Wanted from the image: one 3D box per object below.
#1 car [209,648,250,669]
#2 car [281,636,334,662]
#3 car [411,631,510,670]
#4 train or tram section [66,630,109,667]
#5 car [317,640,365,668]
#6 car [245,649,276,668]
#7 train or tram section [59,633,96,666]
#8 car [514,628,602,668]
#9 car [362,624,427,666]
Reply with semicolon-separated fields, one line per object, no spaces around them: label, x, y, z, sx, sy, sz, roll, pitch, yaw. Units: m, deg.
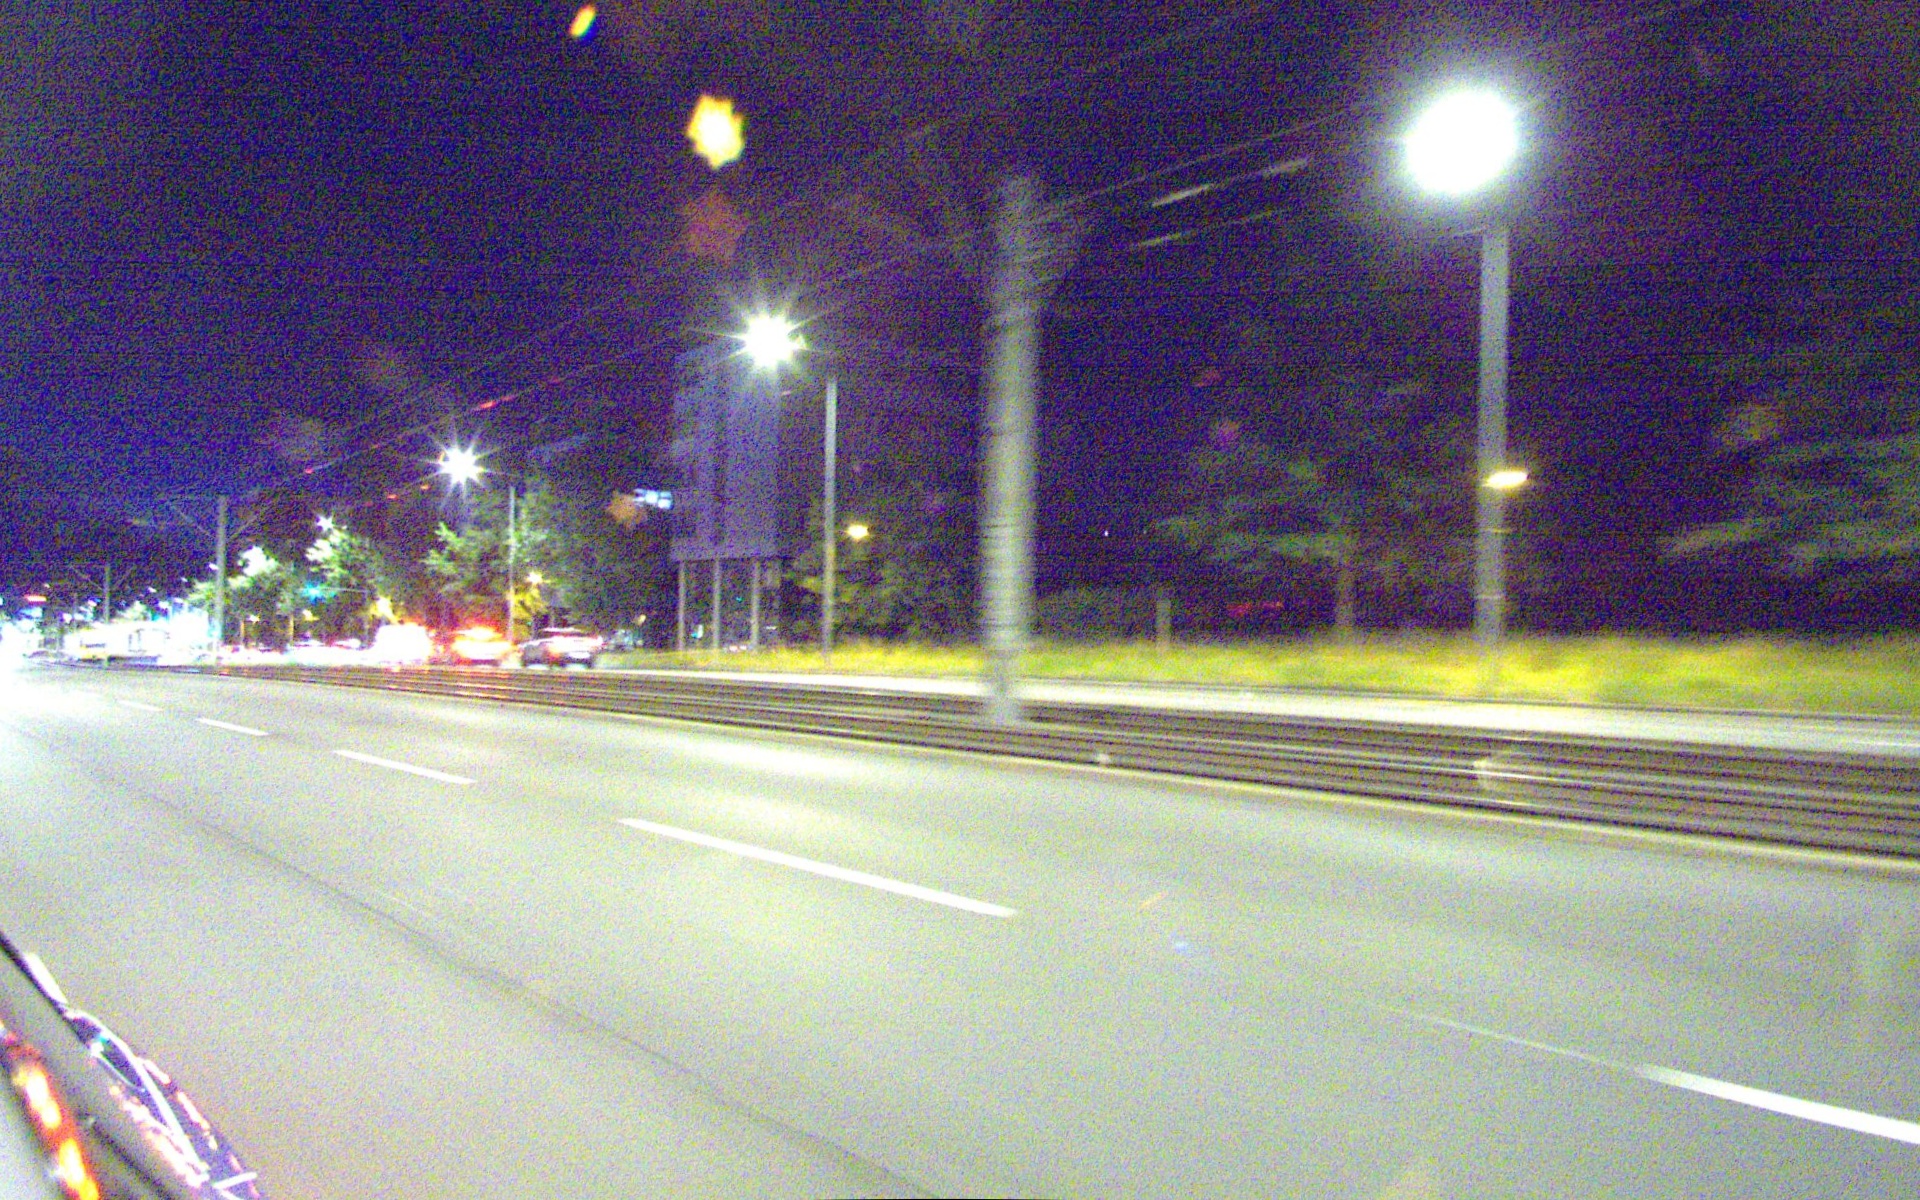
car;-57.424;4.568;79.573;4.173;1.508;1.766;-1;-1;42
car;-38.459;2.902;59.624;4.338;1.451;1.602;-3;-4;44
car;-19.832;1.975;40.088;4.955;1.439;1.846;-2;-2;42
train or tram section;-98.984;5.534;114.673;2.726;3.856;18.684;1;-3;-44
car;-40.268;3.495;65.804;4.229;1.726;1.759;-3;-2;45
car;-61.125;5.079;88.359;1.640;1.528;3.914;1;-2;-43
train or tram section;-112.093;6.293;128.418;2.706;3.875;19.379;1;-3;-43
car;-16.457;1.977;41.288;1.839;1.526;4.619;3;-4;-41
car;-38.717;3.065;69.166;2.120;2.691;6.969;5;-5;-43
